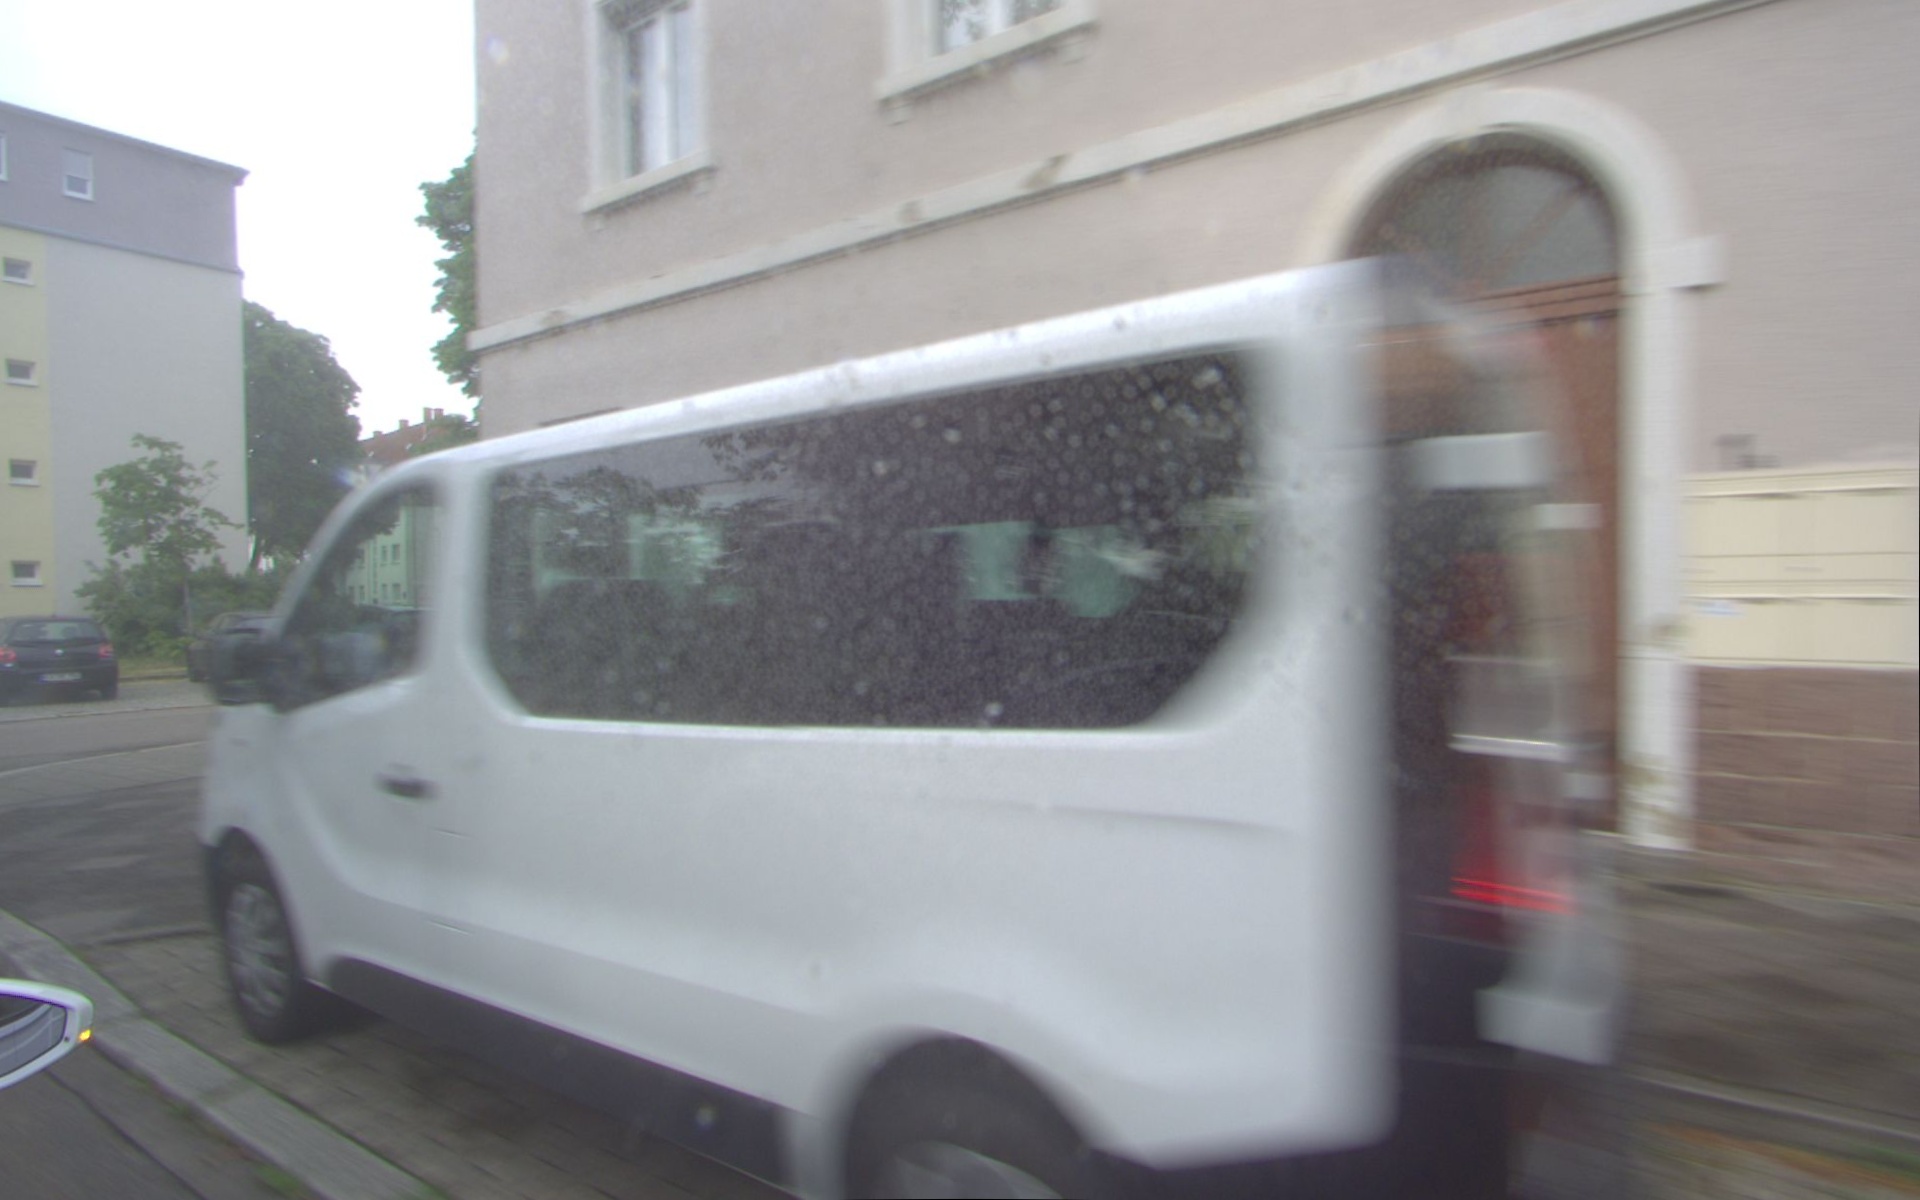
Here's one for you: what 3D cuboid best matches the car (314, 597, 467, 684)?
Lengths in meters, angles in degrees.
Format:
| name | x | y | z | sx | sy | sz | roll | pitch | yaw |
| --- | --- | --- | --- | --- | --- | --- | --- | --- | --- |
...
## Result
| name | x | y | z | sx | sy | sz | roll | pitch | yaw |
| --- | --- | --- | --- | --- | --- | --- | --- | --- | --- |
| car | -12.770 | 0.818 | 22.365 | 4.024 | 1.720 | 1.899 | 1 | 1 | 43 |

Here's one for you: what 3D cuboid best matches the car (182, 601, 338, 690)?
| name | x | y | z | sx | sy | sz | roll | pitch | yaw |
| --- | --- | --- | --- | --- | --- | --- | --- | --- | --- |
| car | -14.530 | 0.841 | 20.685 | 4.309 | 1.587 | 1.825 | 1 | 1 | 43 |

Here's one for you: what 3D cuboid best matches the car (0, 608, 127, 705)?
| name | x | y | z | sx | sy | sz | roll | pitch | yaw |
| --- | --- | --- | --- | --- | --- | --- | --- | --- | --- |
| car | -16.797 | 0.937 | 18.351 | 4.510 | 1.483 | 1.825 | 1 | 1 | 43 |

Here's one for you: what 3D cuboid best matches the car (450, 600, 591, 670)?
| name | x | y | z | sx | sy | sz | roll | pitch | yaw |
| --- | --- | --- | --- | --- | --- | --- | --- | --- | --- |
| car | -11.021 | 0.821 | 25.010 | 3.799 | 1.598 | 1.815 | 0 | 1 | 42 |

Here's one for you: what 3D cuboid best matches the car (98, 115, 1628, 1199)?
| name | x | y | z | sx | sy | sz | roll | pitch | yaw |
| --- | --- | --- | --- | --- | --- | --- | --- | --- | --- |
| car | -0.787 | 0.467 | 3.295 | 4.943 | 2.023 | 1.872 | 0 | 2 | 35 |
